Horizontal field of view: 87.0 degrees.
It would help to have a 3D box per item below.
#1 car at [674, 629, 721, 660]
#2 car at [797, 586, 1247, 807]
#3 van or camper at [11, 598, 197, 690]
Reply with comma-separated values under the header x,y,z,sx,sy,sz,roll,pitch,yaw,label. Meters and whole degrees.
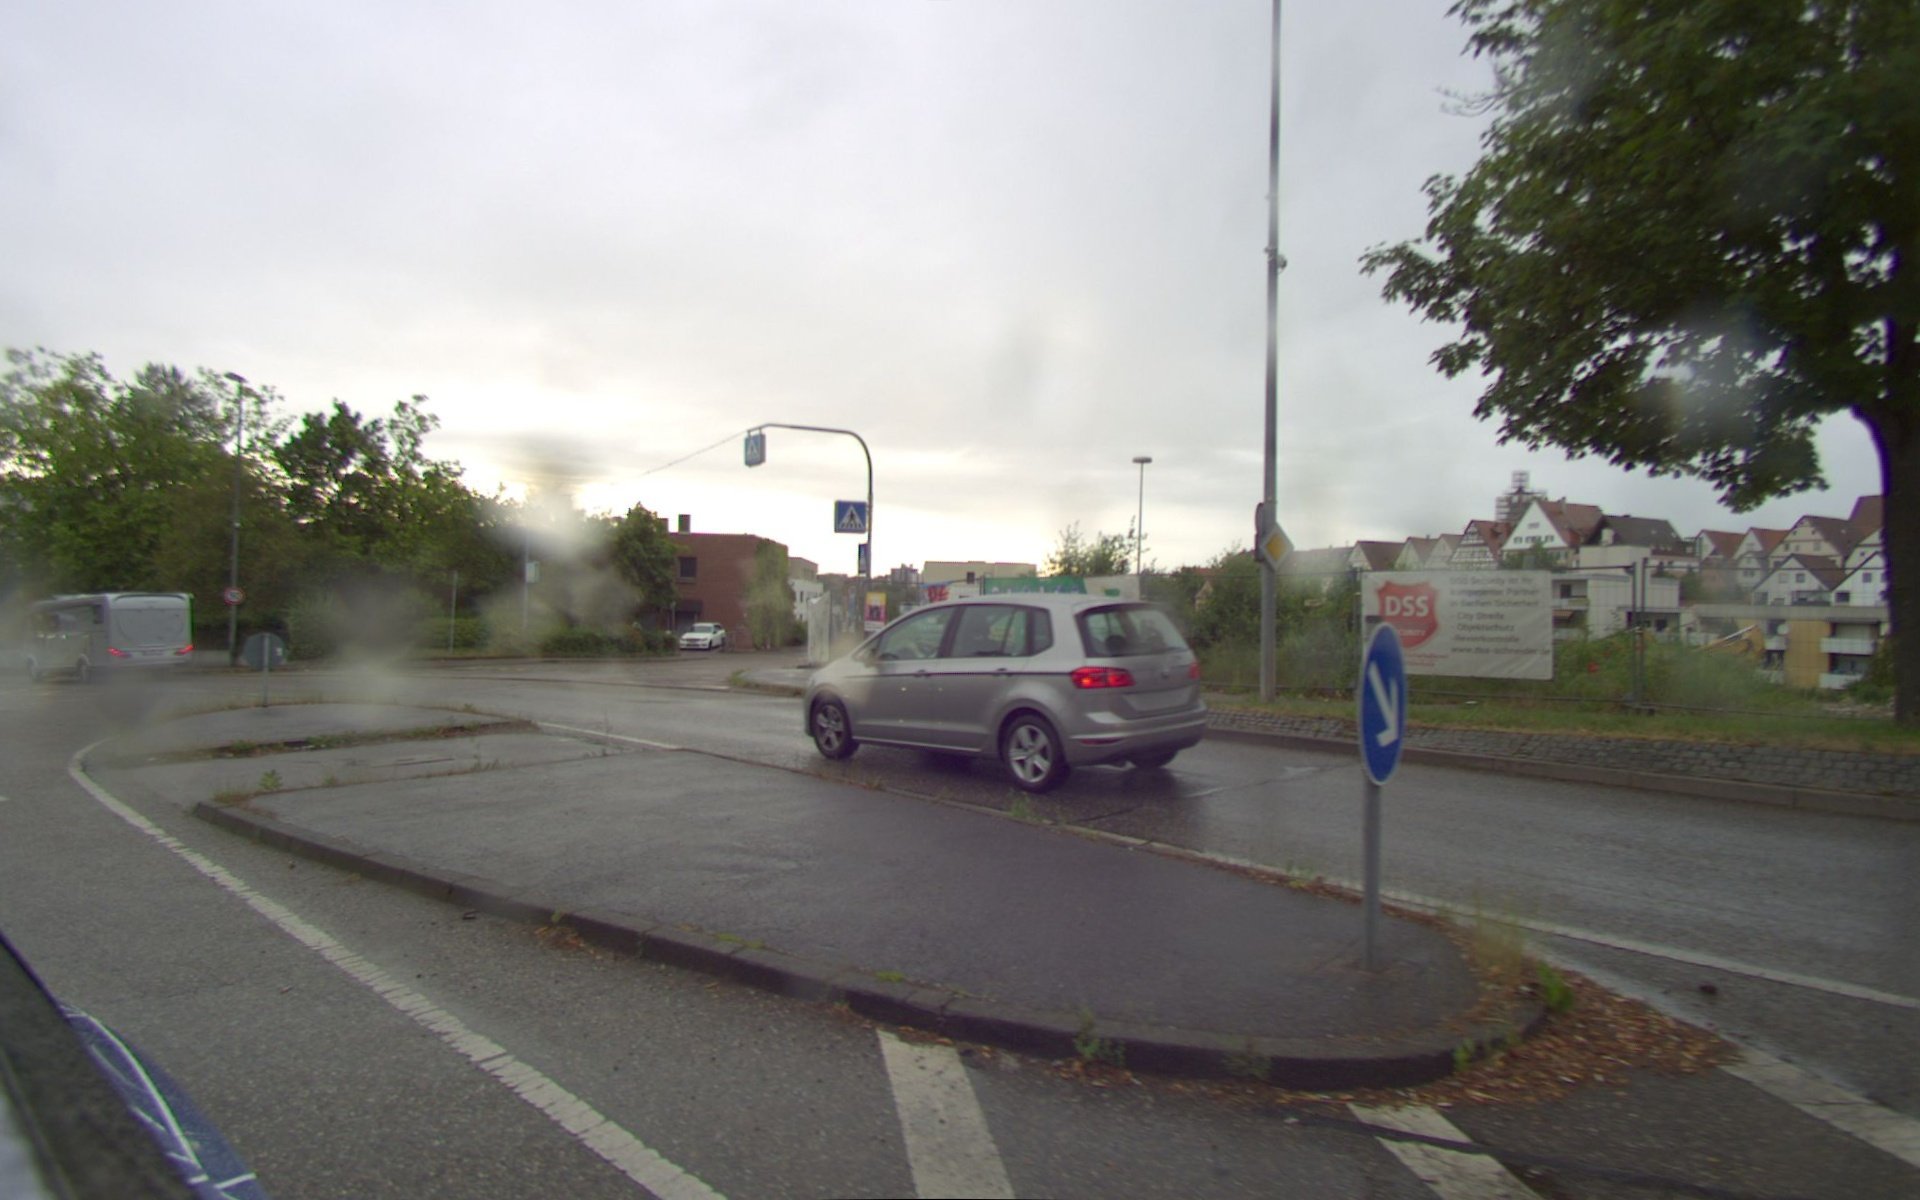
x,y,z,sx,sy,sz,roll,pitch,yaw,label
-15.370,2.584,59.537,1.678,1.619,4.293,-1,-1,0,car
0.342,0.697,9.240,1.624,1.564,4.160,0,-1,-42,car
-27.211,1.356,32.085,6.992,2.676,2.350,-2,-1,30,van or camper
